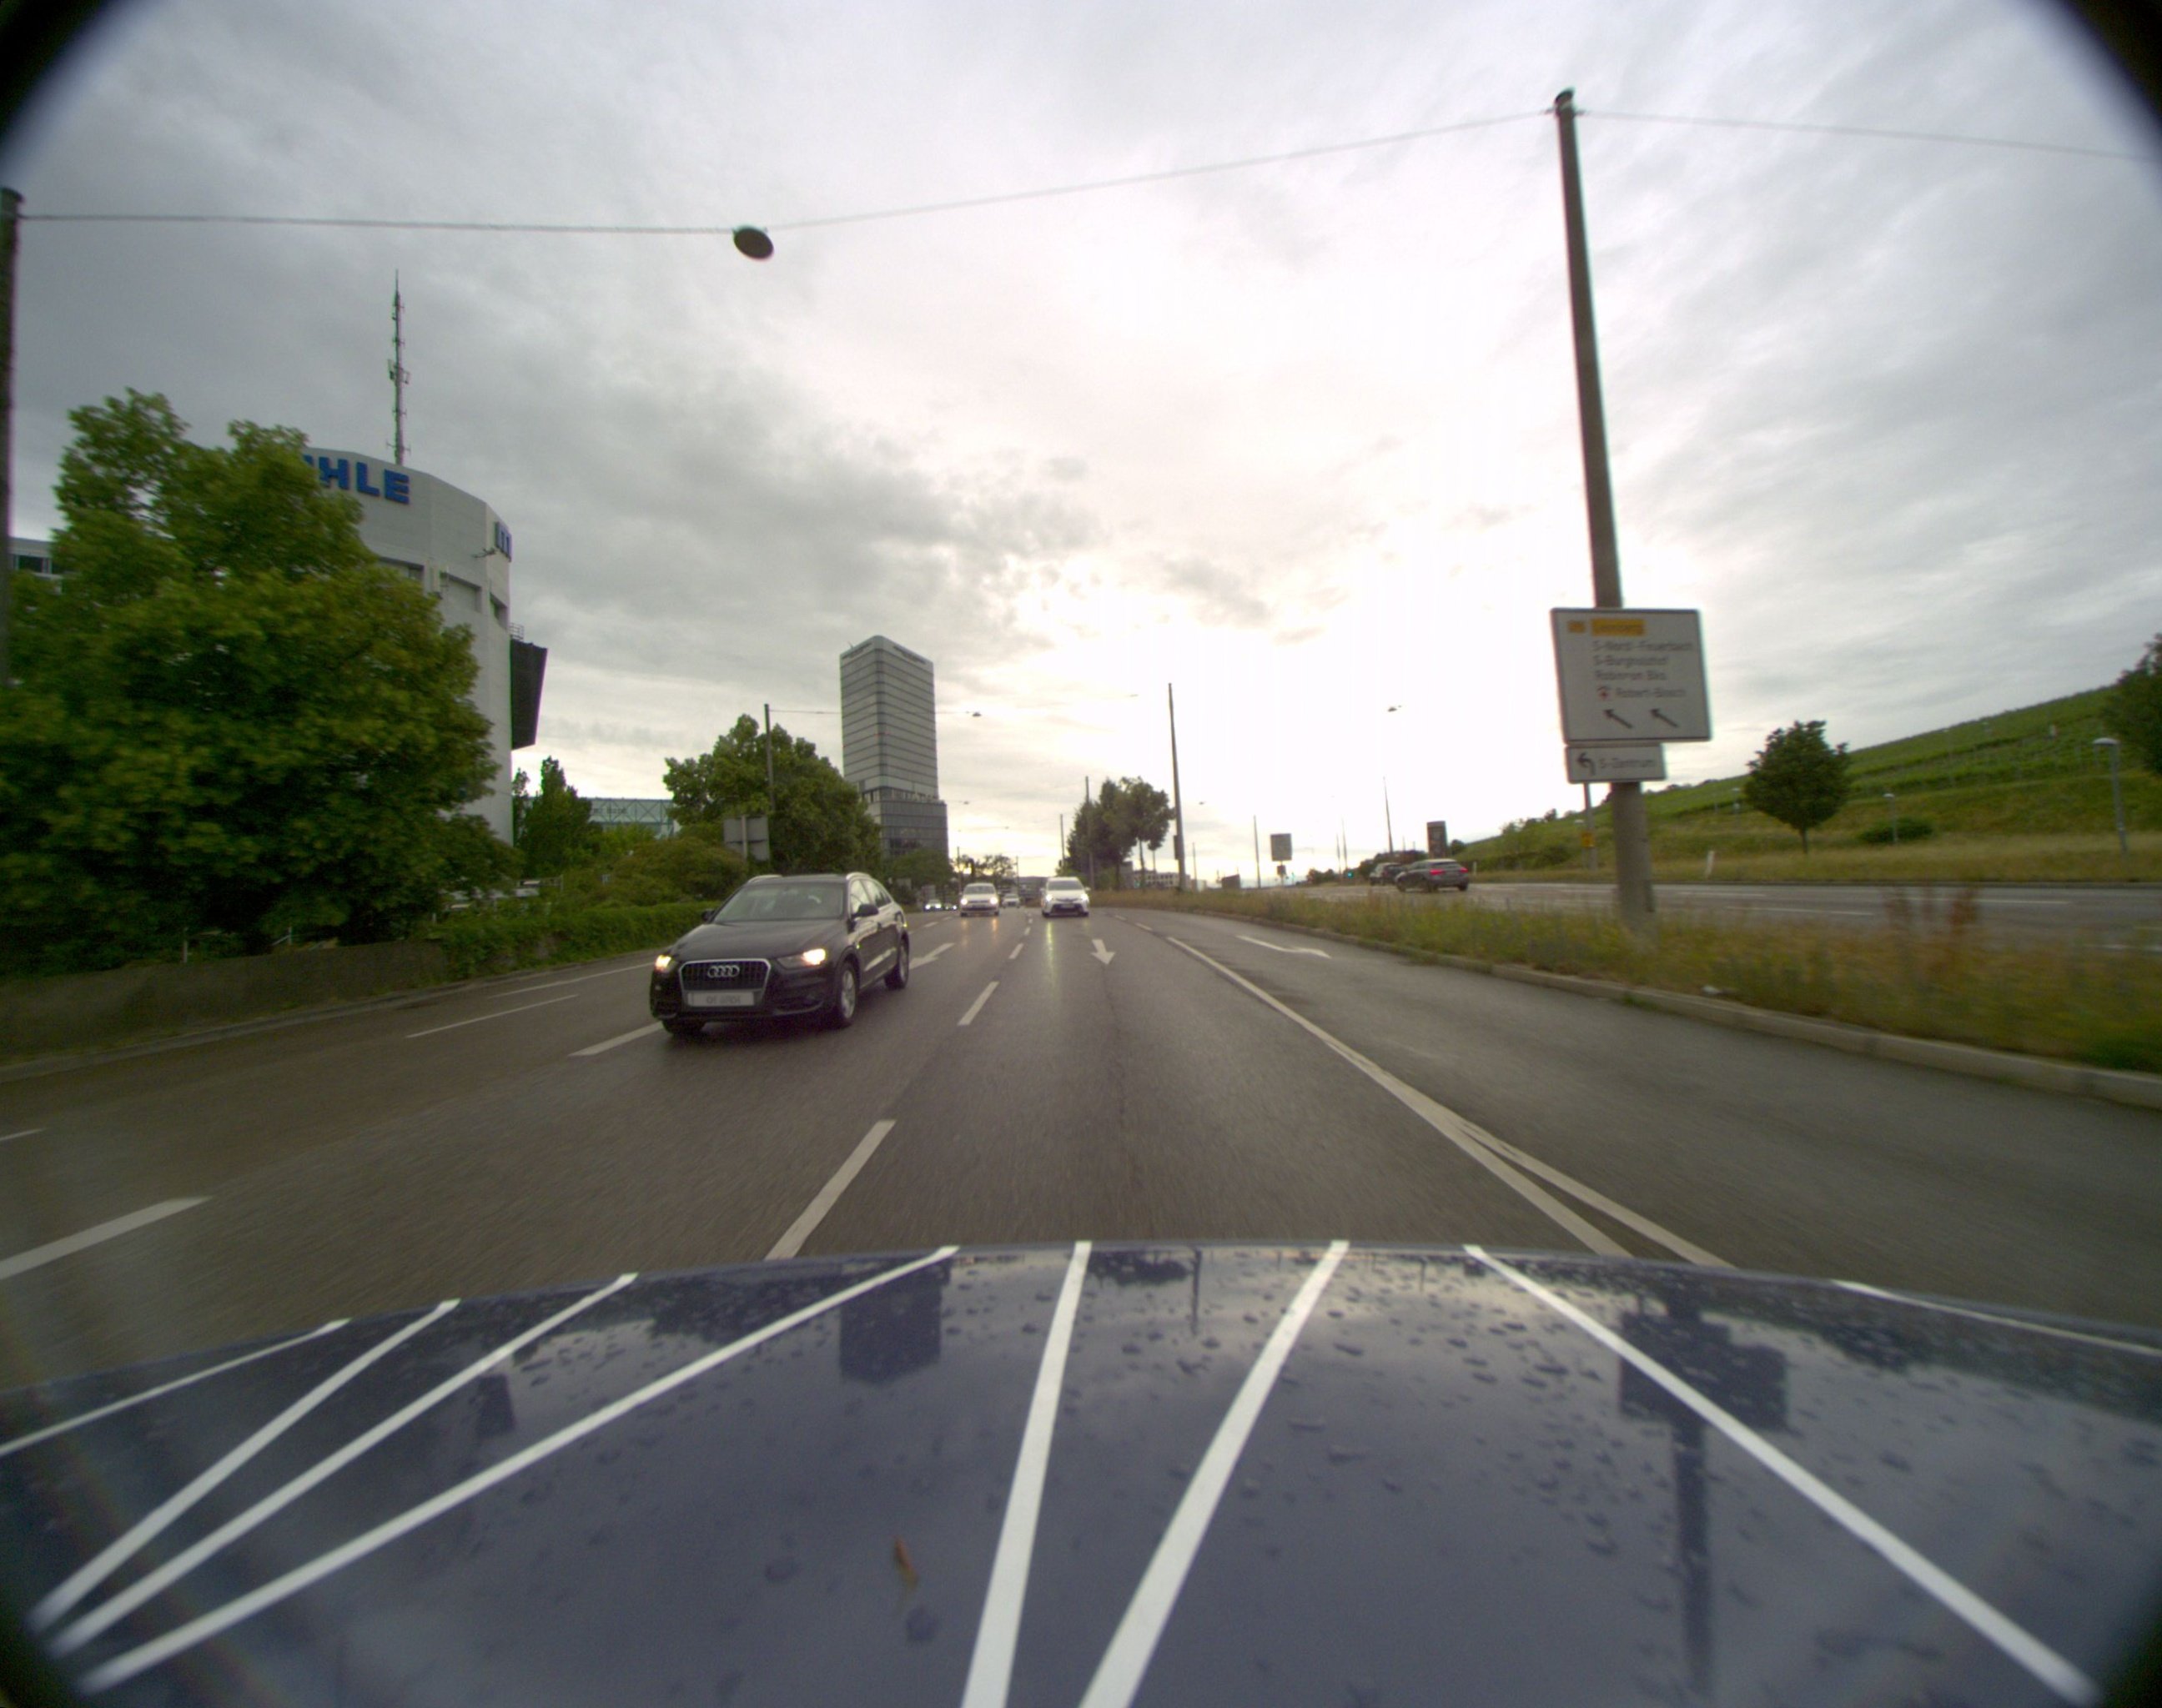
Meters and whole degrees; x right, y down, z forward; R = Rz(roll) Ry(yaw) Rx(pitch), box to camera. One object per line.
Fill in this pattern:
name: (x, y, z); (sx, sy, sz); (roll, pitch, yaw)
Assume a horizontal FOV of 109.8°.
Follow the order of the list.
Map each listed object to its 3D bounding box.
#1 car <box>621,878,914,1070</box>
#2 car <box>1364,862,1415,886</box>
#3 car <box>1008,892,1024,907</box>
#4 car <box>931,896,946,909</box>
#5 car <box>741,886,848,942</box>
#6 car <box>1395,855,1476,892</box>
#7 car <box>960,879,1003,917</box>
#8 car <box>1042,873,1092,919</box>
car: (-3.225, 1.124, 8.784); (1.730, 1.525, 4.126); (-2, 0, -2)
car: (20.751, 1.318, 51.272); (1.772, 1.376, 4.000); (-3, 0, 1)
car: (-6.830, 4.785, 79.383); (1.543, 1.420, 3.808); (-3, -3, -5)
car: (-17.265, 5.904, 92.068); (1.636, 1.466, 3.676); (-3, -3, -9)
car: (-9.633, 1.967, 25.933); (1.876, 1.417, 4.348); (-3, 1, 1)
car: (15.888, 0.899, 34.306); (1.772, 1.508, 4.002); (-3, -2, 1)
car: (-4.441, 1.997, 34.457); (1.730, 1.463, 4.264); (-4, -3, -6)
car: (-0.604, 1.658, 31.252); (1.827, 1.574, 4.297); (-3, 0, -2)
